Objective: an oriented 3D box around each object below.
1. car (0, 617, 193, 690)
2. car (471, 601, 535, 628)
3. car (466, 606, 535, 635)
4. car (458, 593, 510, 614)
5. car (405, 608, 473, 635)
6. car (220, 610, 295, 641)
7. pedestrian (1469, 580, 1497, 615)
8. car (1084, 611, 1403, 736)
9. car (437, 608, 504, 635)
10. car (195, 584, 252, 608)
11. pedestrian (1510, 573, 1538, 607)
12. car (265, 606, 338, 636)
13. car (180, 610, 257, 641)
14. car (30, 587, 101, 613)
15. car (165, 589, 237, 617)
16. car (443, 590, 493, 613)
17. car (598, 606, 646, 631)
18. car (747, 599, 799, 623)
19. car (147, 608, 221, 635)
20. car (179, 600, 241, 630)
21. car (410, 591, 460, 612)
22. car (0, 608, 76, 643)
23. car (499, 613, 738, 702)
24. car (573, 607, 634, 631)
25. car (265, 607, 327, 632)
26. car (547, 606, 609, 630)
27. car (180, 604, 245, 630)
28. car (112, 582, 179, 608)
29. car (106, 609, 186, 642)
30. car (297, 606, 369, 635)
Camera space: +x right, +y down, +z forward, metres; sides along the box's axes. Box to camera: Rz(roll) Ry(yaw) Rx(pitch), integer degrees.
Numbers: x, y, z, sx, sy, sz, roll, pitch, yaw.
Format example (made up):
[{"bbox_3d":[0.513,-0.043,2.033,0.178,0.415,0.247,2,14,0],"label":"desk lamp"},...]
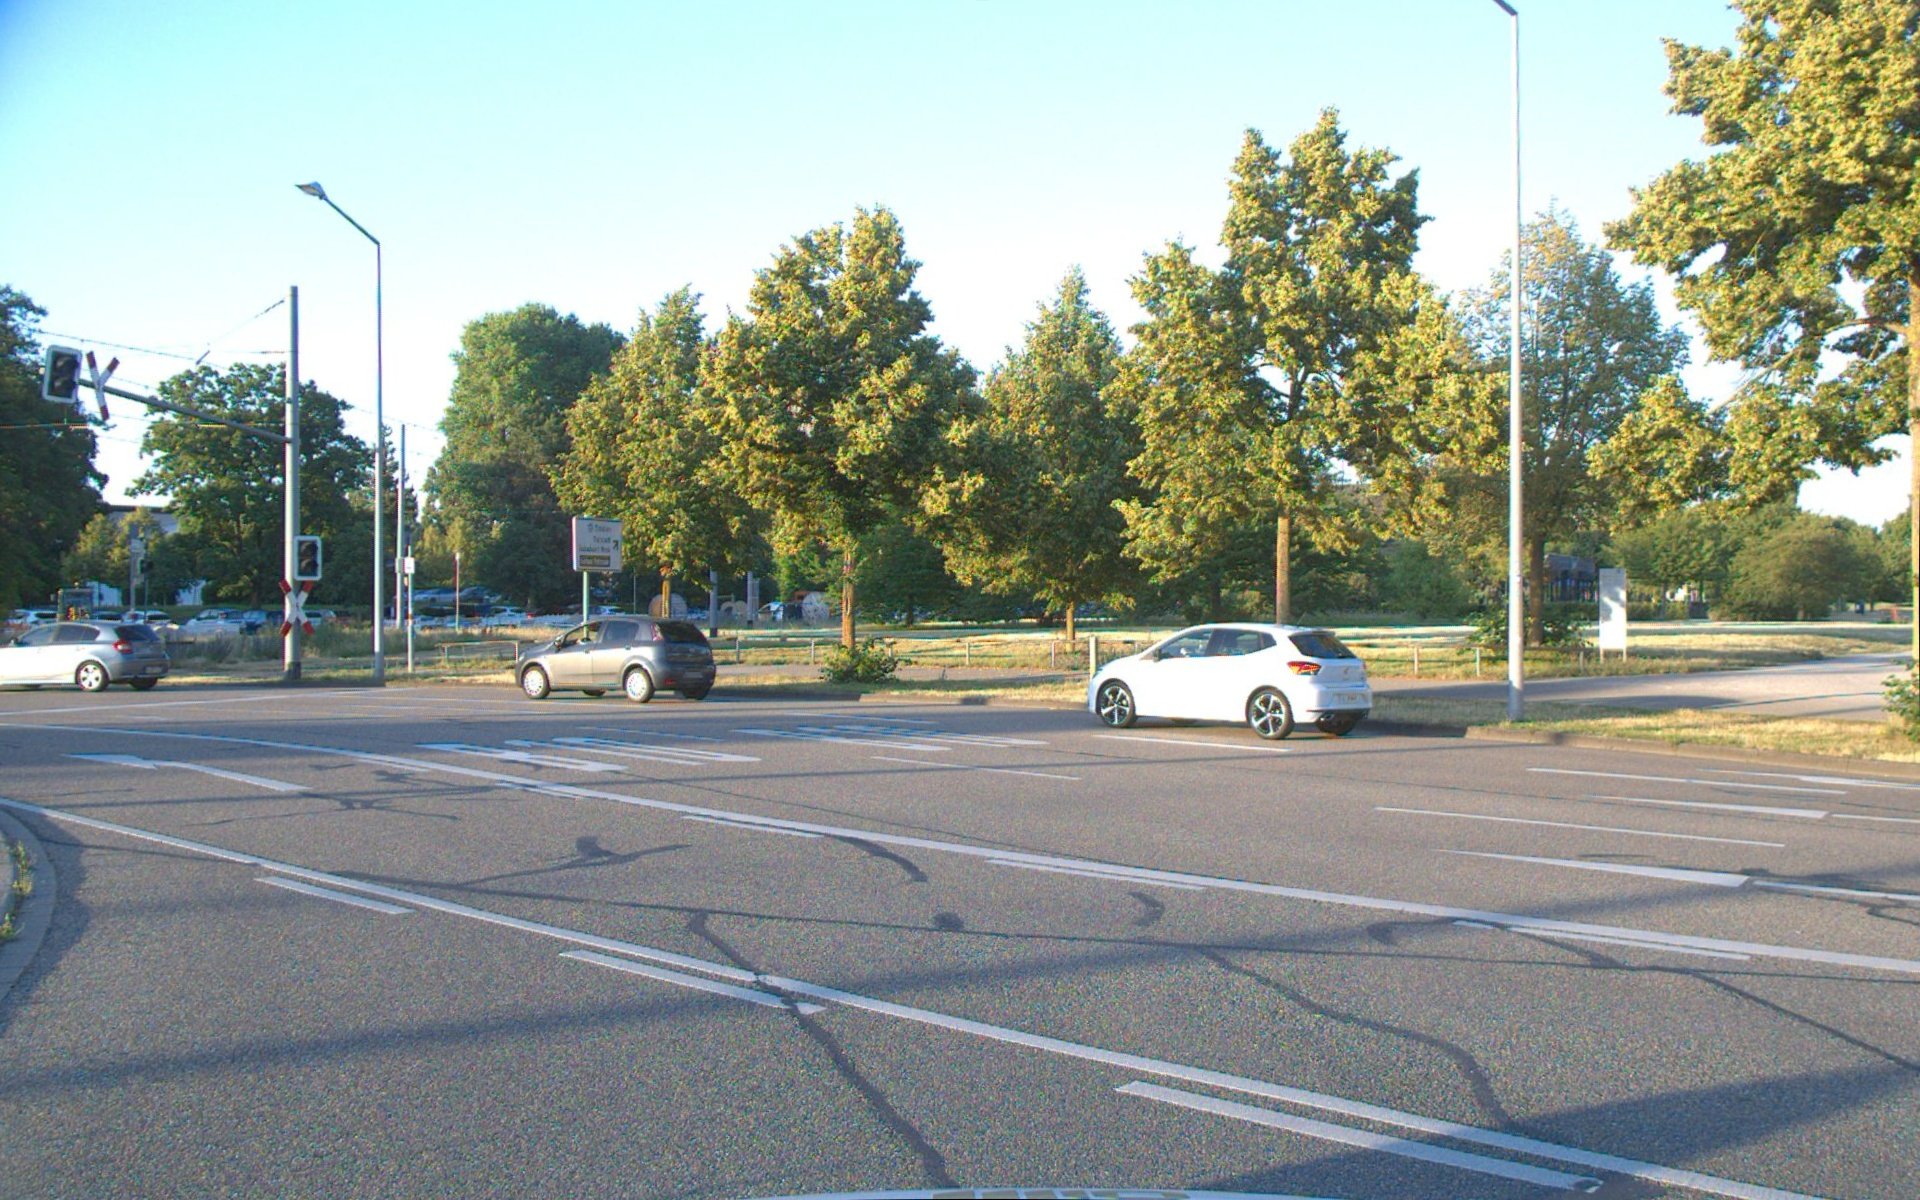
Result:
[{"bbox_3d":[-18.072,1.070,33.701,4.060,1.414,1.869,0,0,9],"label":"car"},{"bbox_3d":[-34.581,1.091,125.260,4.499,2.049,1.996,0,0,-9],"label":"car"},{"bbox_3d":[-32.512,1.447,117.152,4.499,2.049,1.996,0,0,-9],"label":"car"},{"bbox_3d":[-41.677,0.304,144.721,3.902,1.736,2.001,0,0,6],"label":"car"},{"bbox_3d":[-32.298,1.297,102.545,3.915,1.632,1.995,0,0,32],"label":"car"},{"bbox_3d":[-39.076,1.400,92.041,3.915,1.632,1.995,0,0,32],"label":"car"},{"bbox_3d":[25.060,-0.133,79.291,1.047,1.646,0.911,0,0,2],"label":"pedestrian"},{"bbox_3d":[3.724,0.905,22.124,1.853,1.479,3.908,0,0,-43],"label":"car"},{"bbox_3d":[-30.964,1.329,104.683,3.915,1.632,1.995,0,0,32],"label":"car"},{"bbox_3d":[-63.364,-0.318,142.357,1.958,2.049,4.105,0,0,33],"label":"car"},{"bbox_3d":[27.054,-0.469,79.299,1.047,1.646,0.911,0,0,2],"label":"pedestrian"},{"bbox_3d":[-37.376,1.172,93.867,3.915,1.632,1.995,0,0,32],"label":"car"},{"bbox_3d":[-40.518,1.368,90.374,3.915,1.632,1.995,0,0,32],"label":"car"},{"bbox_3d":[-70.522,-0.017,130.461,1.956,2.049,4.590,0,0,29],"label":"car"},{"bbox_3d":[-56.635,0.245,123.487,1.956,2.049,4.590,0,0,29],"label":"car"},{"bbox_3d":[-44.078,0.118,148.233,1.963,2.049,3.979,0,0,40],"label":"car"},{"bbox_3d":[-26.352,1.400,128.877,1.979,1.782,4.538,0,1,-37],"label":"car"},{"bbox_3d":[-12.990,0.767,114.670,1.724,1.646,3.940,0,0,-41],"label":"car"},{"bbox_3d":[-50.218,1.376,107.081,1.863,1.691,3.987,0,0,34],"label":"car"},{"bbox_3d":[-52.747,1.040,116.380,3.939,2.049,1.983,0,0,-27],"label":"car"},{"bbox_3d":[-47.939,0.122,151.061,1.959,1.847,3.987,0,0,34],"label":"car"},{"bbox_3d":[-45.612,1.243,81.431,3.915,1.632,1.995,0,0,32],"label":"car"},{"bbox_3d":[-6.152,0.980,29.691,4.074,1.479,1.863,0,0,32],"label":"car"},{"bbox_3d":[-24.889,1.328,115.422,3.915,1.632,1.995,0,0,32],"label":"car"},{"bbox_3d":[-45.804,1.326,114.109,3.933,1.691,1.889,0,0,-23],"label":"car"},{"bbox_3d":[-26.257,1.243,113.672,3.915,1.632,1.995,0,0,32],"label":"car"},{"bbox_3d":[-50.548,1.115,111.868,3.939,1.691,1.983,0,0,-27],"label":"car"},{"bbox_3d":[-67.106,-0.406,136.336,1.958,2.049,4.585,0,0,33],"label":"car"},{"bbox_3d":[-42.242,1.319,85.784,3.915,1.632,1.995,0,0,32],"label":"car"},{"bbox_3d":[-36.431,1.198,96.085,3.915,1.632,1.995,0,0,32],"label":"car"}]
